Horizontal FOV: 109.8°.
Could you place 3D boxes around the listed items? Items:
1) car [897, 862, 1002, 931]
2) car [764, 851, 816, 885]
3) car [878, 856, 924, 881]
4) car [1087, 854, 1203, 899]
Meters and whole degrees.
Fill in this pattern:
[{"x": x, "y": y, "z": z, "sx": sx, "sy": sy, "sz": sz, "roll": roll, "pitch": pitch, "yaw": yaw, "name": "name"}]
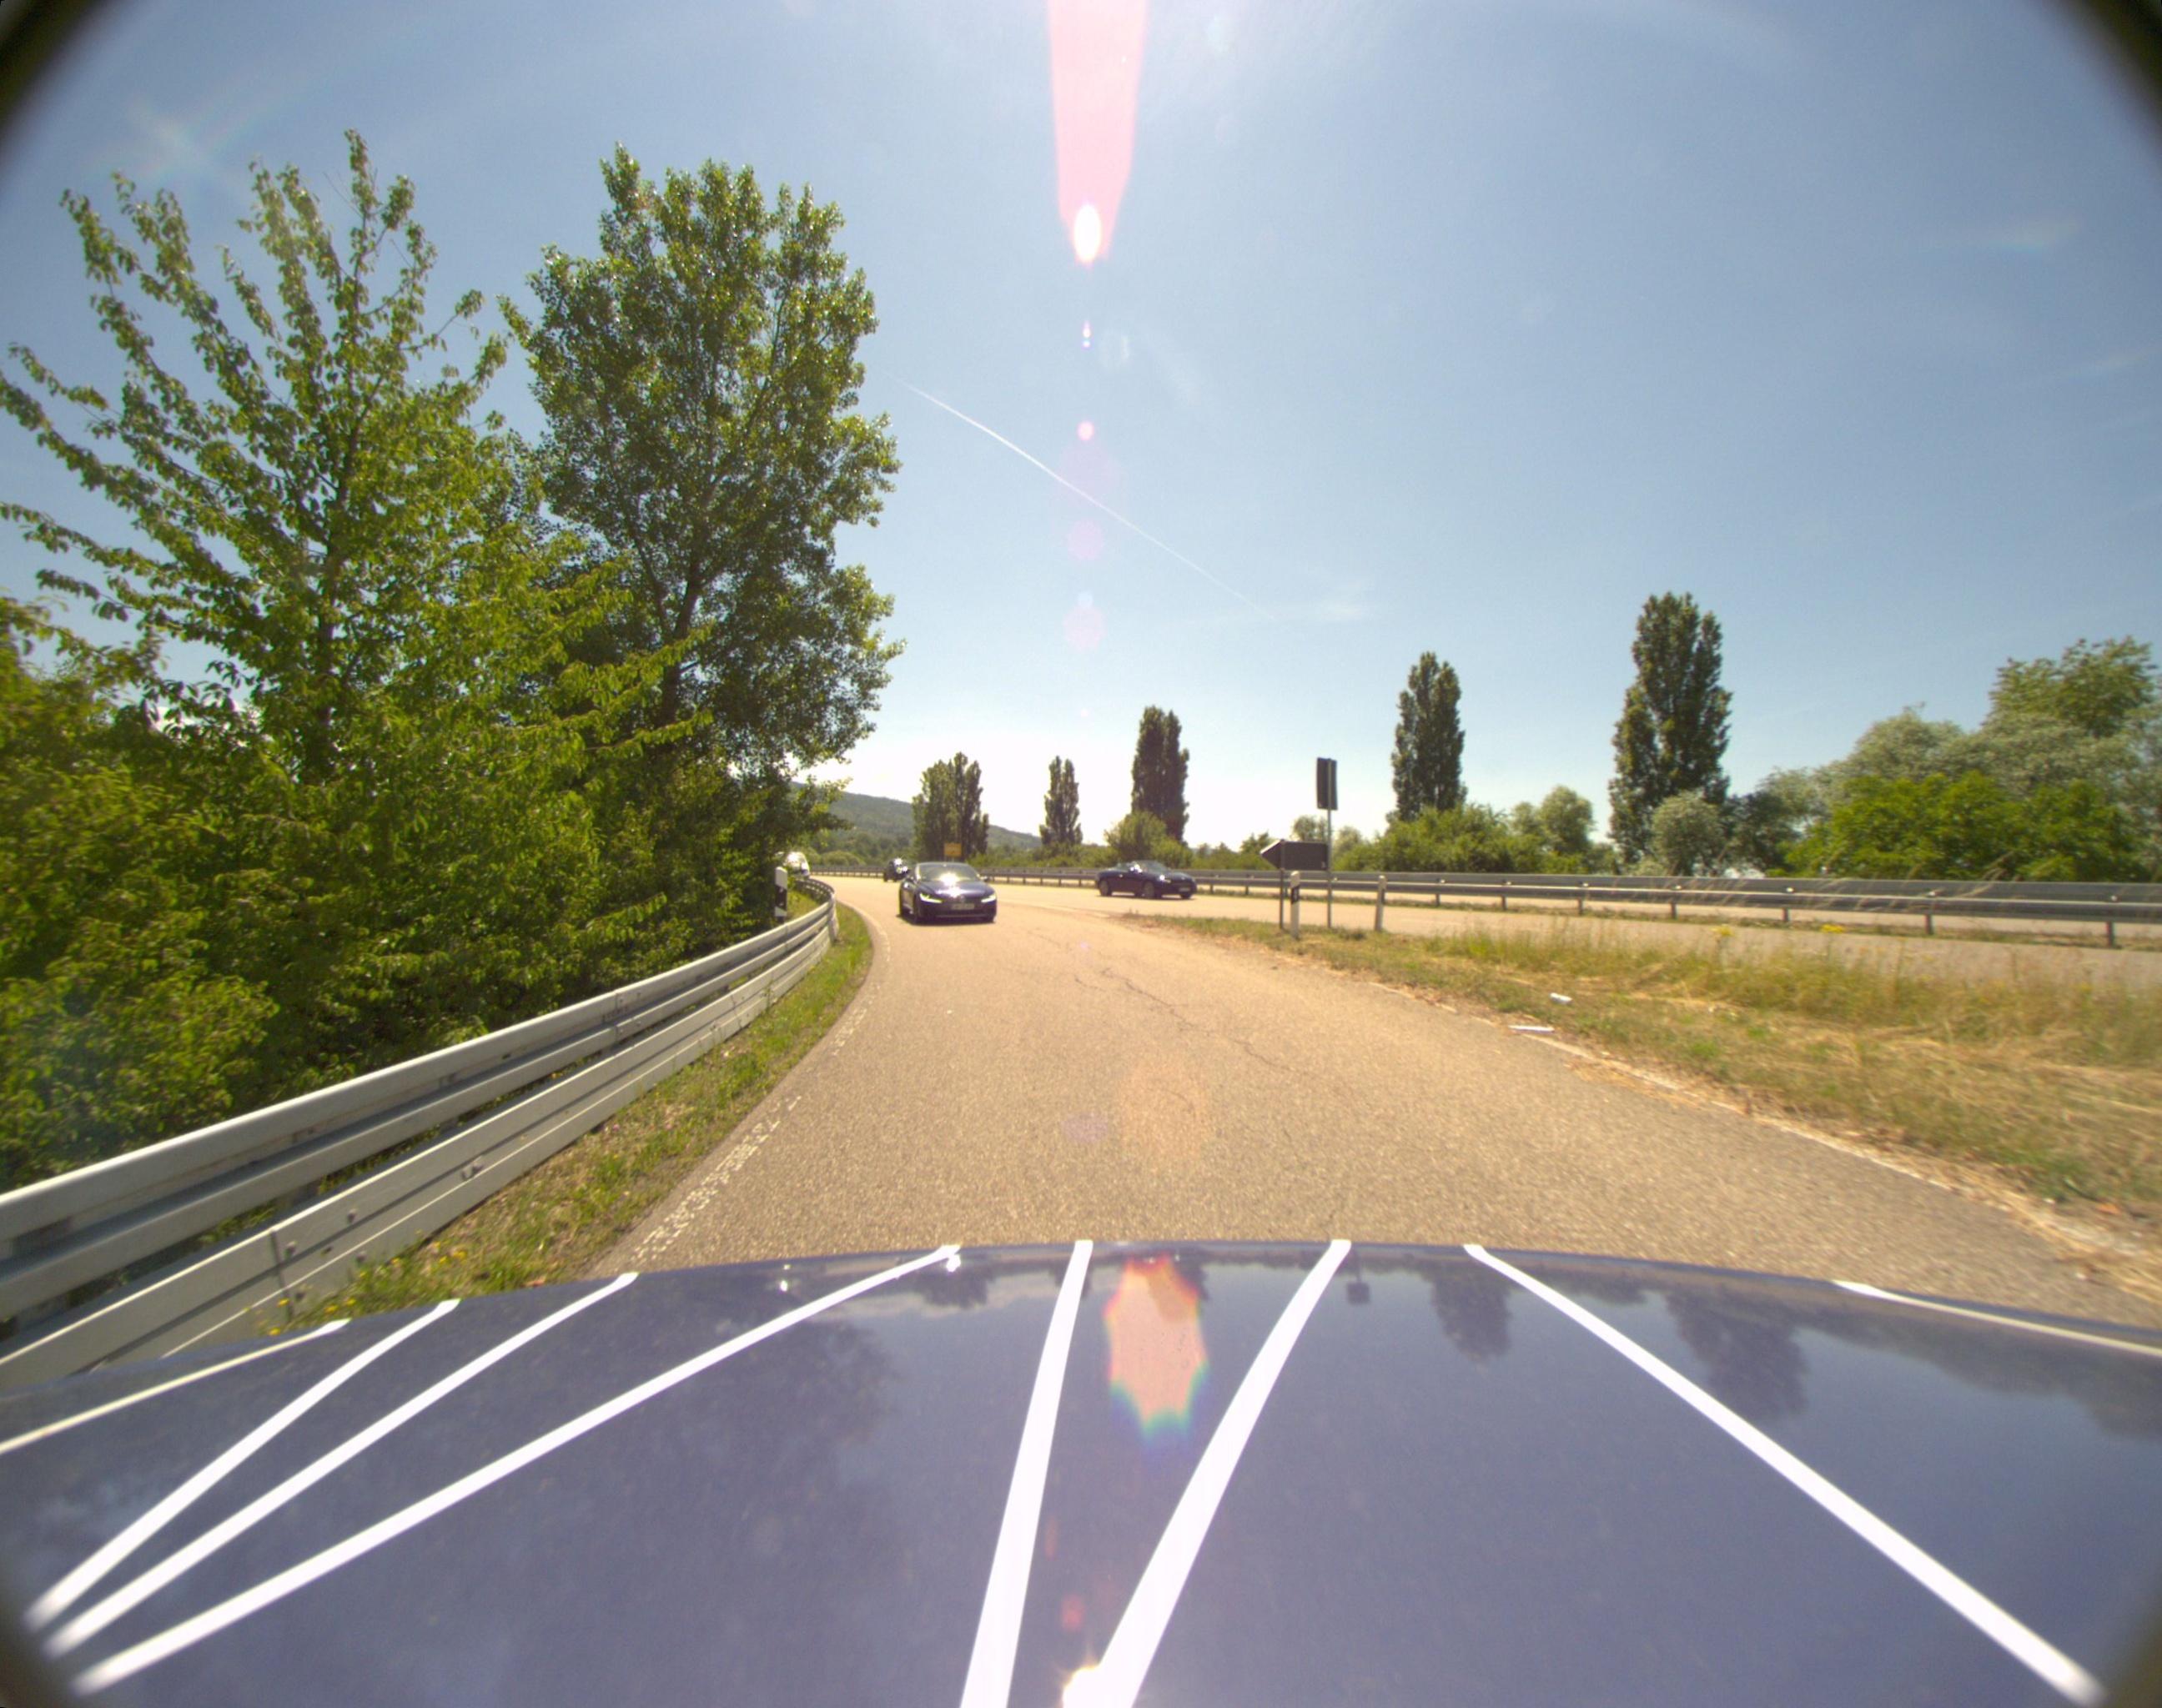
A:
[{"x": -3.408, "y": 0.949, "z": 18.982, "sx": 1.845, "sy": 1.422, "sz": 4.526, "roll": -2, "pitch": 0, "yaw": -19, "name": "car"}, {"x": -17.506, "y": 0.805, "z": 45.631, "sx": 2.003, "sy": 1.939, "sz": 4.633, "roll": -1, "pitch": 0, "yaw": -32, "name": "car"}, {"x": -12.458, "y": 0.992, "z": 52.361, "sx": 1.834, "sy": 1.602, "sz": 3.990, "roll": -2, "pitch": 0, "yaw": -33, "name": "car"}, {"x": 2.336, "y": 0.798, "z": 28.988, "sx": 2.003, "sy": 1.564, "sz": 4.633, "roll": -1, "pitch": 0, "yaw": -32, "name": "car"}]
